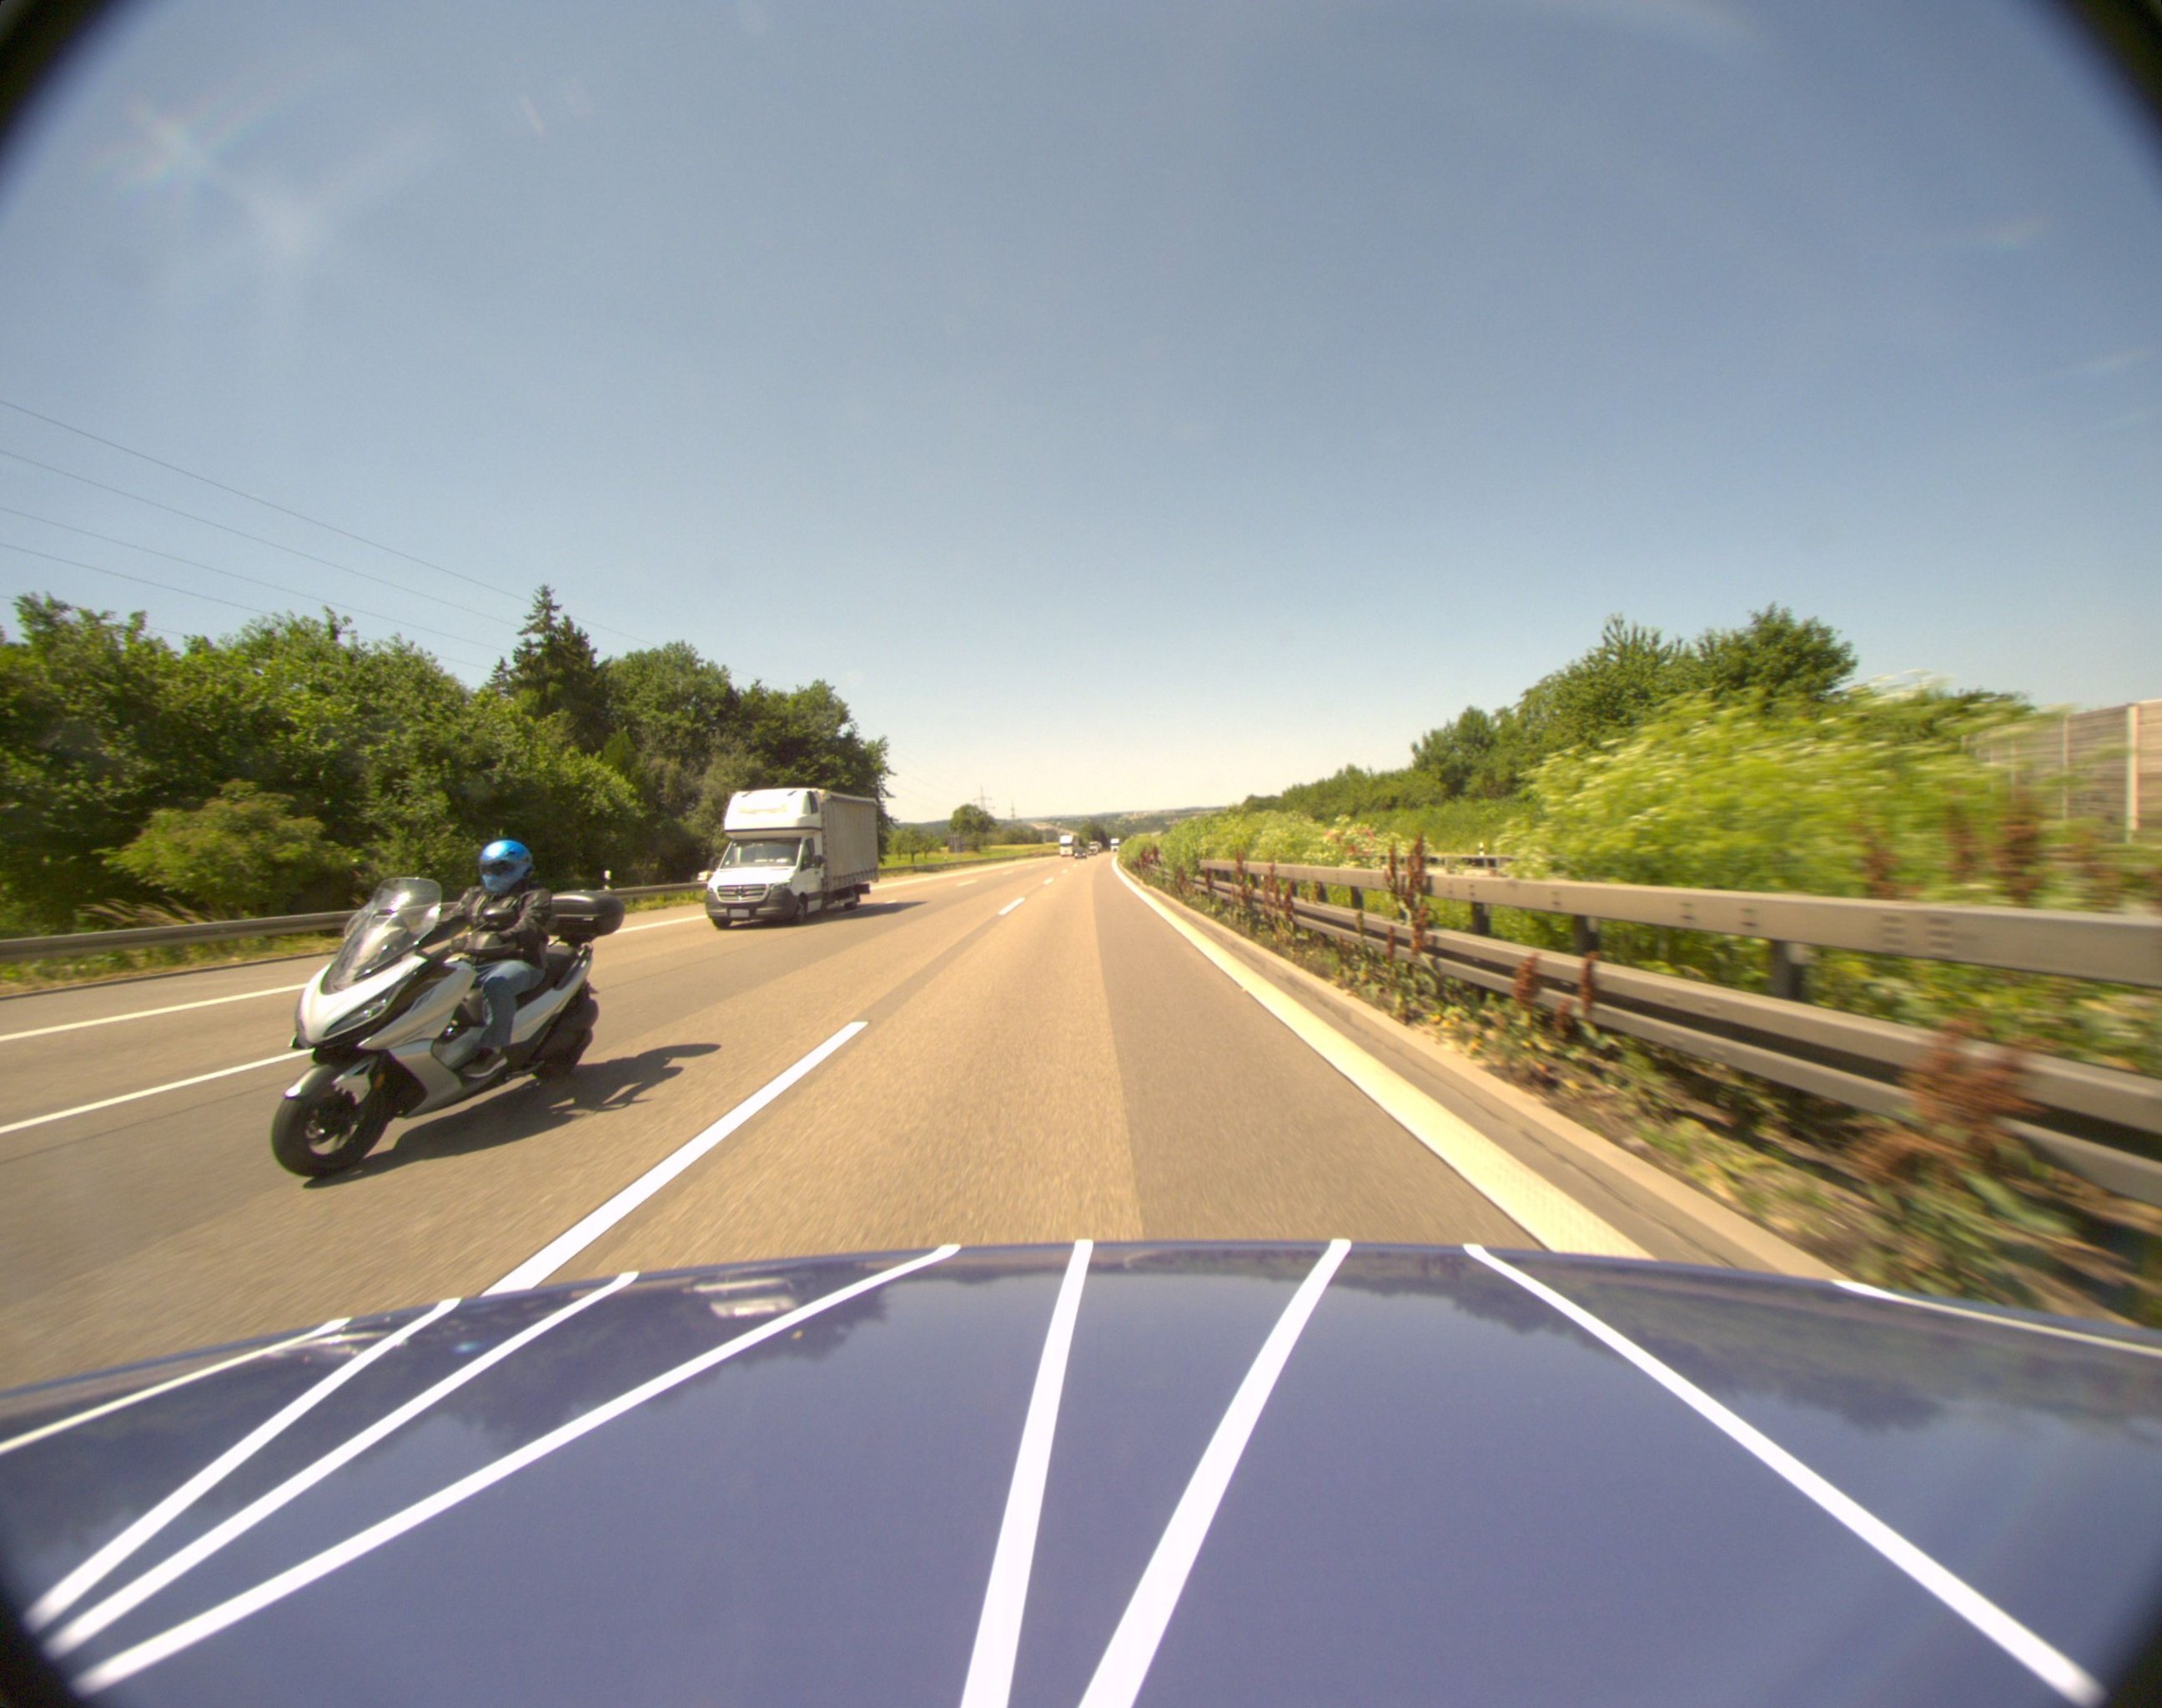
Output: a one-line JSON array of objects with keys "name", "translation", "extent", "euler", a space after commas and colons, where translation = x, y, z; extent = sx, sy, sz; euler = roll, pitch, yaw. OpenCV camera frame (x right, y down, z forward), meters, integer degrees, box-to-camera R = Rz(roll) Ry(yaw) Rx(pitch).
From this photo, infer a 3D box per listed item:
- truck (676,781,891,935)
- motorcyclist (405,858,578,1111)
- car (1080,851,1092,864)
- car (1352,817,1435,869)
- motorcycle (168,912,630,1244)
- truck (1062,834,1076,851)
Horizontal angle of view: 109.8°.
[{"name": "truck", "translation": [-7.449, 0.042, 20.484], "extent": [2.513, 3.268, 8.105], "euler": [-1, 1, 0]}, {"name": "motorcyclist", "translation": [-3.731, 0.791, 4.846], "extent": [0.613, 1.499, 0.513], "euler": [-3, 1, 0]}, {"name": "car", "translation": [0.781, 0.501, 119.744], "extent": [1.705, 1.958, 3.999], "euler": [-2, 1, 0]}, {"name": "car", "translation": [13.106, -0.455, 32.140], "extent": [1.854, 2.002, 3.999], "euler": [-2, 1, 1]}, {"name": "motorcycle", "translation": [-3.711, 1.085, 4.533], "extent": [0.631, 1.279, 2.312], "euler": [-2, 0, 0]}, {"name": "truck", "translation": [-2.520, -2.392, 157.141], "extent": [2.591, 3.444, 5.960], "euler": [-2, 1, -3]}]
